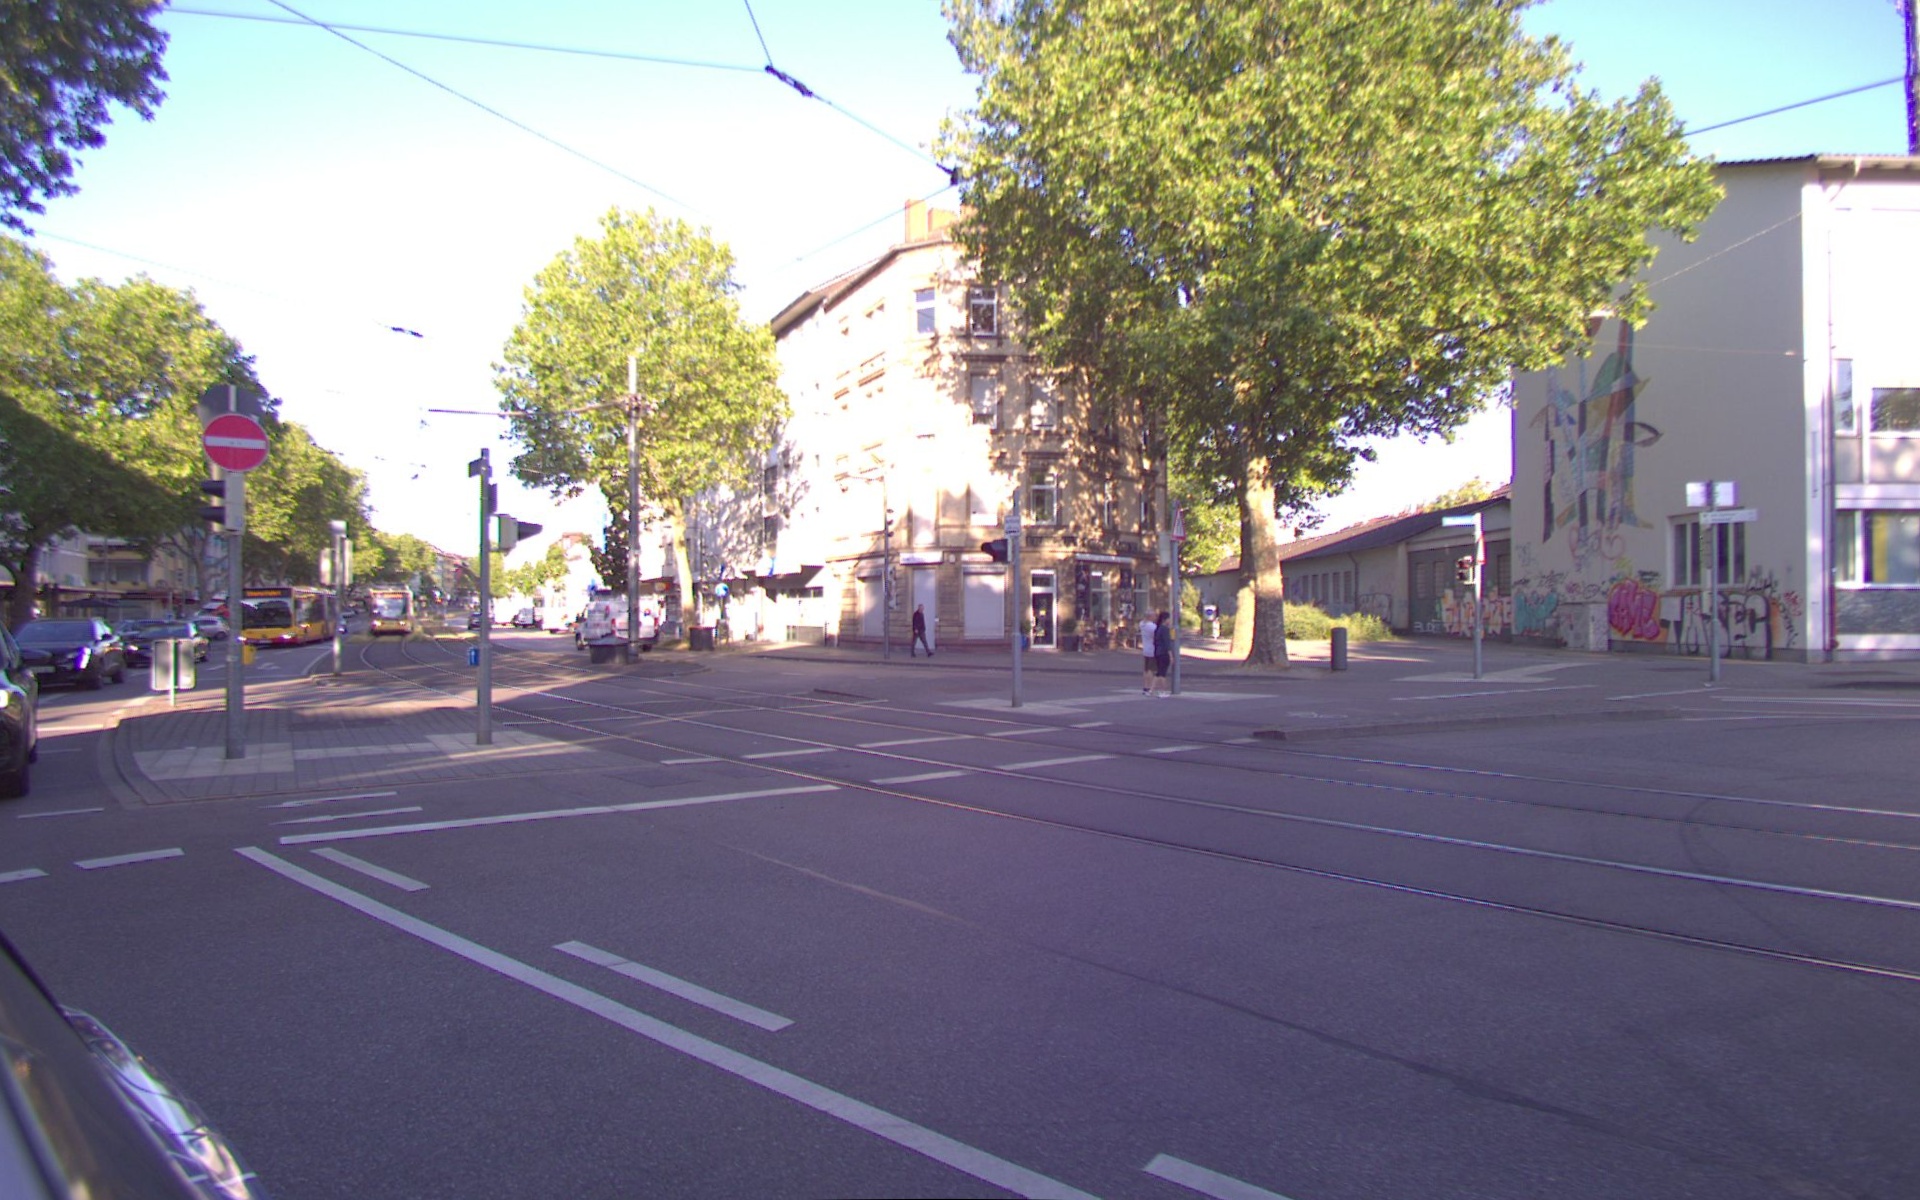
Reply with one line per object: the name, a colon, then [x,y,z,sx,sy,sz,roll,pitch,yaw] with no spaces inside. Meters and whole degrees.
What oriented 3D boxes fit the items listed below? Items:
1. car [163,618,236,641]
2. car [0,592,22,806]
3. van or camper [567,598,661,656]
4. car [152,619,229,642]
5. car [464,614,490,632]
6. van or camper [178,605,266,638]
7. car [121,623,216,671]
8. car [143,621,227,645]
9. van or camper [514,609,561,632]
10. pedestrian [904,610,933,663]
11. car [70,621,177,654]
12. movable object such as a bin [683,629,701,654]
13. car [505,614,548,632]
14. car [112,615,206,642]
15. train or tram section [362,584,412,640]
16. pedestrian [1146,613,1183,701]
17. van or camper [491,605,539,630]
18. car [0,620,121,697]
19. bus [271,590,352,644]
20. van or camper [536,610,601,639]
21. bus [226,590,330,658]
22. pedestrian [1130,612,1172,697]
car: [-54.804,2.078,72.991,1.648,1.575,3.972,1,-1,21]
car: [-9.445,0.781,8.532,3.997,1.660,1.785,-1,-1,40]
van or camper: [-15.000,1.191,43.730,2.140,2.337,5.112,2,-3,-40]
car: [-53.268,2.094,70.129,1.648,1.534,3.972,1,-1,21]
car: [-42.571,2.012,89.201,1.859,1.483,4.220,0,-1,-28]
van or camper: [-58.013,1.685,79.670,1.986,2.488,5.424,-1,-1,21]
car: [-26.745,1.541,34.320,1.631,1.497,4.174,0,-1,-25]
car: [-49.441,2.080,64.664,1.648,1.447,3.972,1,-1,21]
van or camper: [-41.087,2.006,98.608,1.784,2.004,4.428,-2,0,16]
pedestrian: [-1.433,1.247,34.970,0.610,1.801,0.974,-2,0,-24]
car: [-42.740,1.883,51.818,1.791,1.618,3.983,0,-1,13]
movable object such as a bin: [-11.703,1.798,44.193,0.539,1.102,0.645,-1,-2,11]
car: [-44.715,2.341,104.510,1.864,1.598,3.977,-2,0,18]
car: [-46.057,1.606,58.294,1.646,1.447,3.976,1,-1,18]
train or tram section: [-39.047,0.805,69.216,2.595,3.476,11.165,-1,0,-28]
pedestrian: [3.598,0.988,17.823,0.515,1.515,0.405,-1,-1,32]
van or camper: [-51.321,1.956,116.856,1.977,2.687,6.381,-2,0,9]
car: [-20.683,1.274,23.371,1.632,1.593,4.010,0,-1,-34]
bus: [-40.485,0.928,63.553,2.824,3.001,12.281,-2,1,-26]
van or camper: [-29.507,1.837,76.428,1.936,1.912,4.786,-2,0,18]
bus: [-35.101,1.052,52.568,2.824,3.001,12.281,-2,1,-26]
pedestrian: [3.480,0.983,18.413,0.592,1.515,0.516,-1,-1,32]
